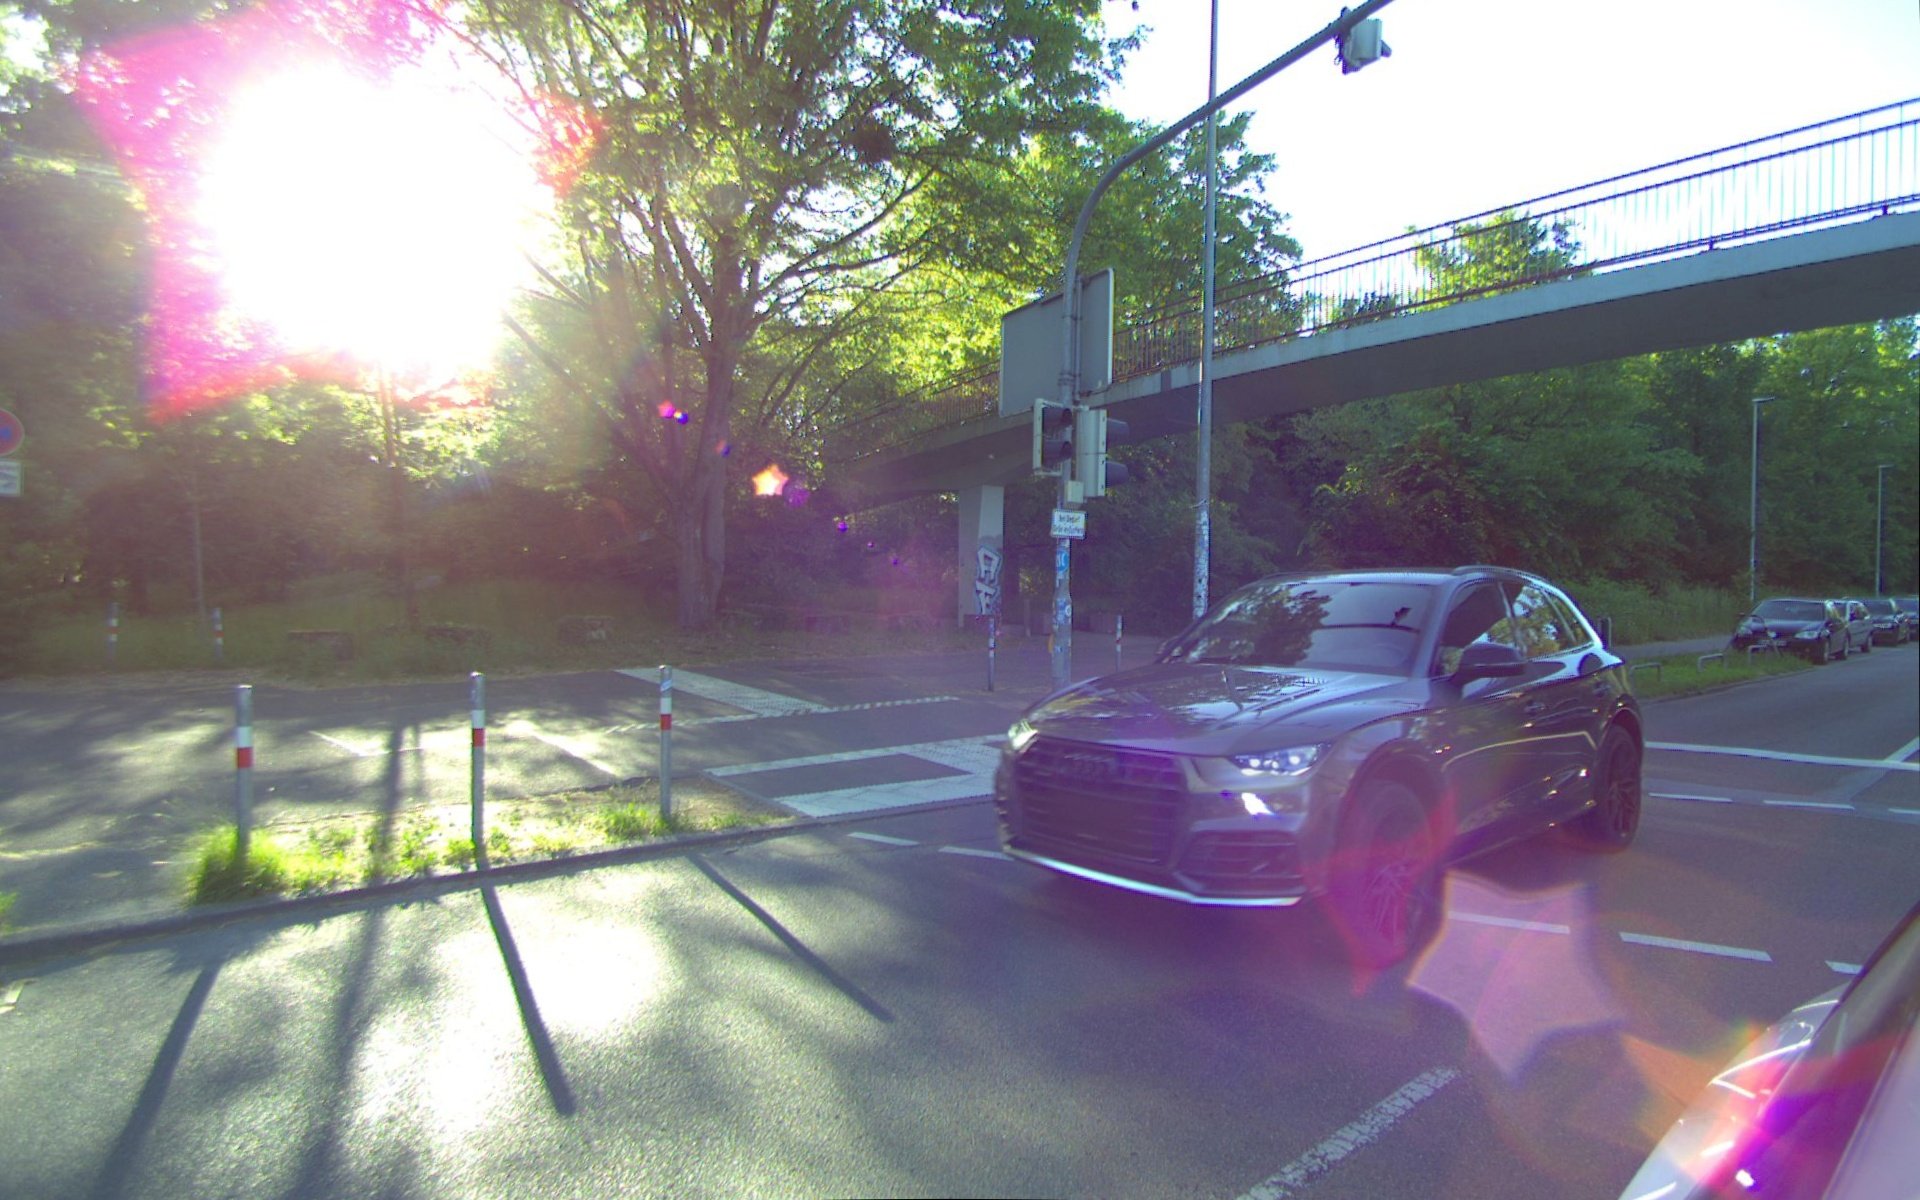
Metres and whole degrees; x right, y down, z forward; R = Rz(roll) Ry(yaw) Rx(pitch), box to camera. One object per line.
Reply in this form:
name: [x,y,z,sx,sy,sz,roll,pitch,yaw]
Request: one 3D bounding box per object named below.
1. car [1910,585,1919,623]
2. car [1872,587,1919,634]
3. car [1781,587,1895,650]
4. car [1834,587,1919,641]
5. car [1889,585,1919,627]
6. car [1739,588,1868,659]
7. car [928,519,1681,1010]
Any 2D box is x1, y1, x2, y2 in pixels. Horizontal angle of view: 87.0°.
car: [40.996,0.176,42.043,4.319,1.526,1.736,-1,2,-41]
car: [33.026,0.336,34.998,4.064,1.526,1.703,-1,2,-41]
car: [23.548,0.440,27.102,3.906,1.526,1.720,-1,2,-41]
car: [28.823,0.385,31.570,4.080,1.526,1.736,-1,2,-41]
car: [37.037,0.204,38.687,4.152,1.526,1.736,-1,2,-41]
car: [20.031,0.483,23.984,4.054,1.527,1.693,-1,1,-41]
car: [2.112,0.520,5.516,4.286,1.627,1.992,-1,0,-40]
